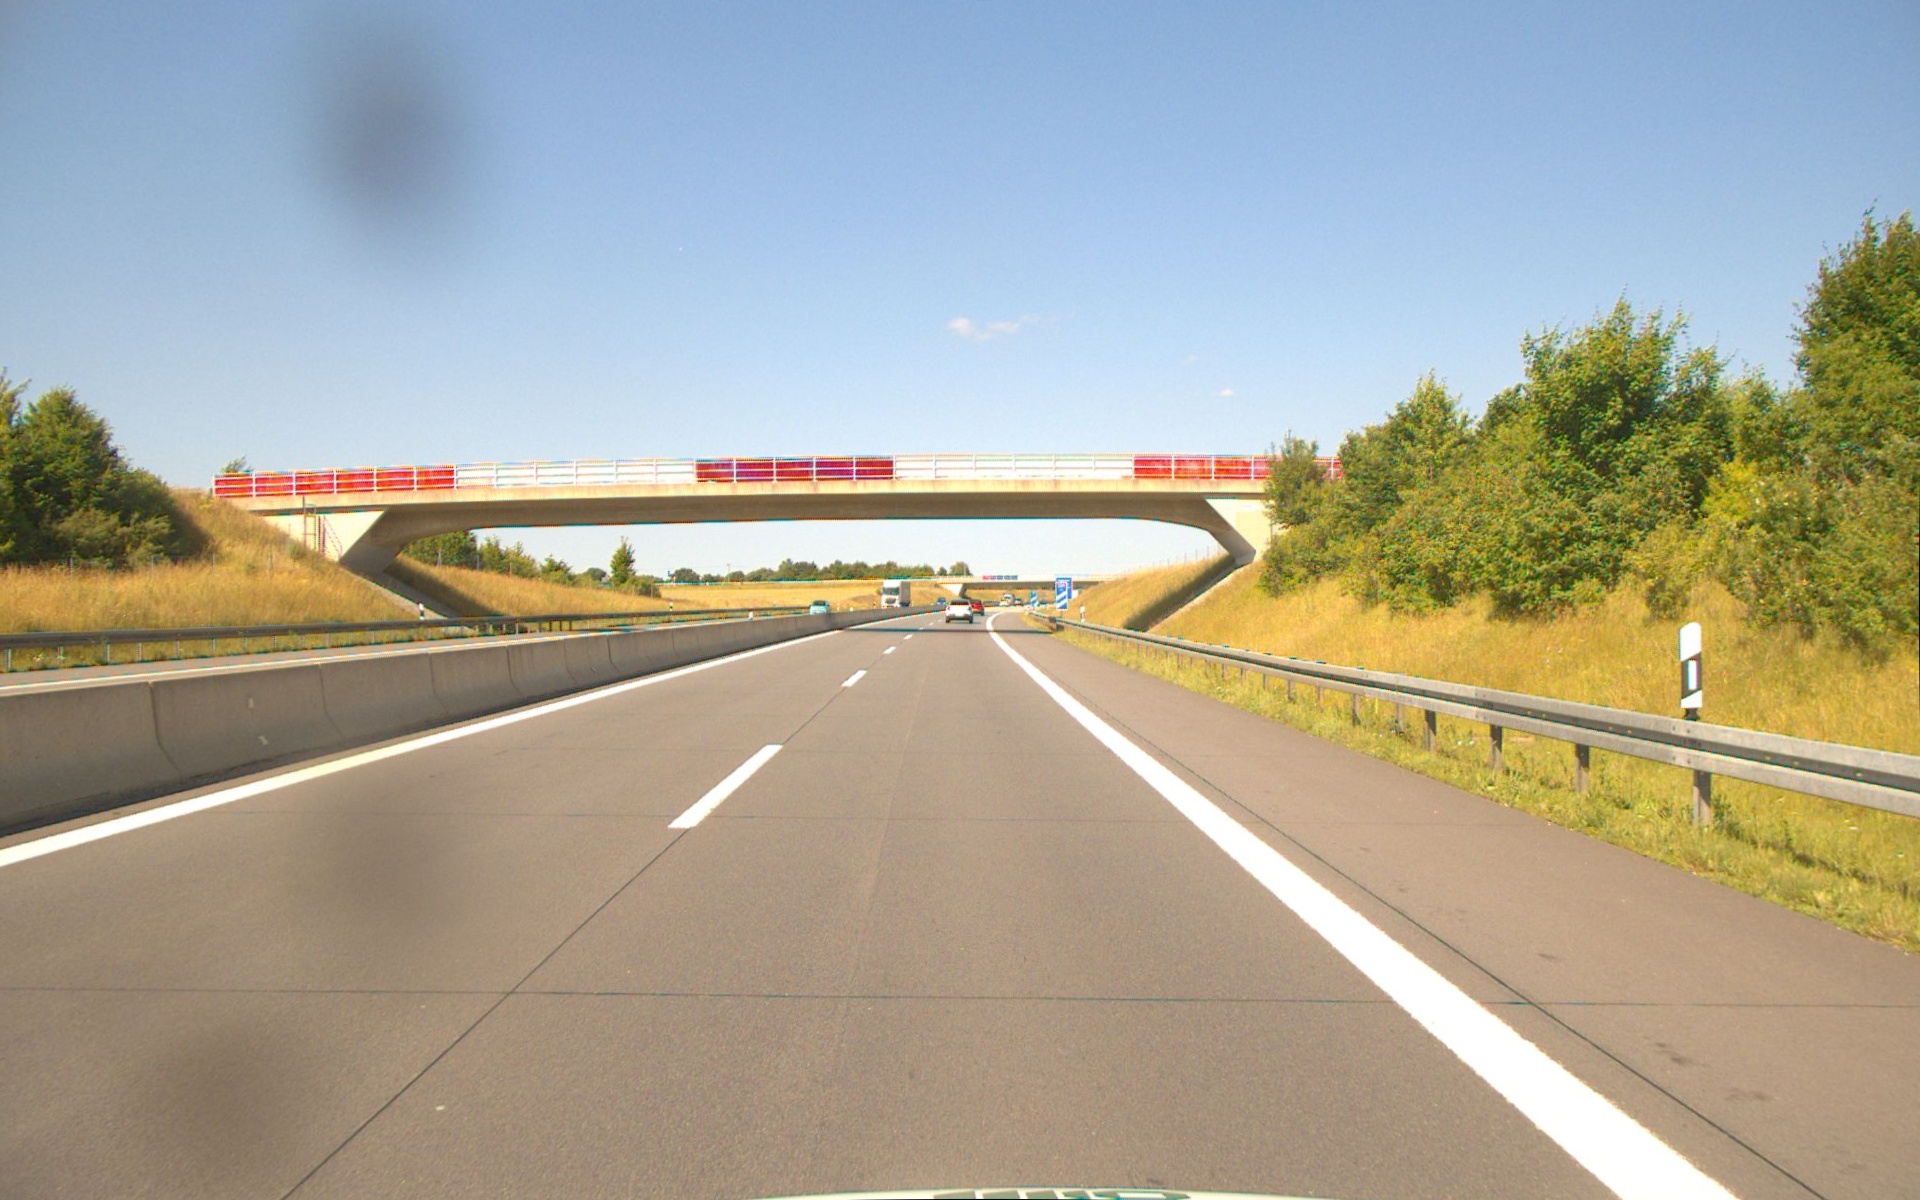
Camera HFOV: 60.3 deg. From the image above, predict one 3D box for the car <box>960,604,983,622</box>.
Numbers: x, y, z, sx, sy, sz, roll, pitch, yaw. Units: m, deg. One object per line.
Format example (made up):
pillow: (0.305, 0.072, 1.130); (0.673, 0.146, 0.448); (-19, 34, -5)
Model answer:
car: (1.143, 1.287, 163.661); (1.952, 1.761, 4.871); (-1, 0, 3)

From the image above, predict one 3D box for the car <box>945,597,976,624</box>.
car: (-0.003, 0.697, 110.617); (1.953, 1.761, 4.867); (-1, 0, -2)

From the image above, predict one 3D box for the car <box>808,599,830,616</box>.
car: (-12.974, 0.671, 152.505); (1.625, 1.478, 4.001); (0, 0, 2)

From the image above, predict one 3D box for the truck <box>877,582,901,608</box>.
truck: (-10.074, -0.753, 235.554); (2.612, 3.631, 8.176); (0, 0, 4)
